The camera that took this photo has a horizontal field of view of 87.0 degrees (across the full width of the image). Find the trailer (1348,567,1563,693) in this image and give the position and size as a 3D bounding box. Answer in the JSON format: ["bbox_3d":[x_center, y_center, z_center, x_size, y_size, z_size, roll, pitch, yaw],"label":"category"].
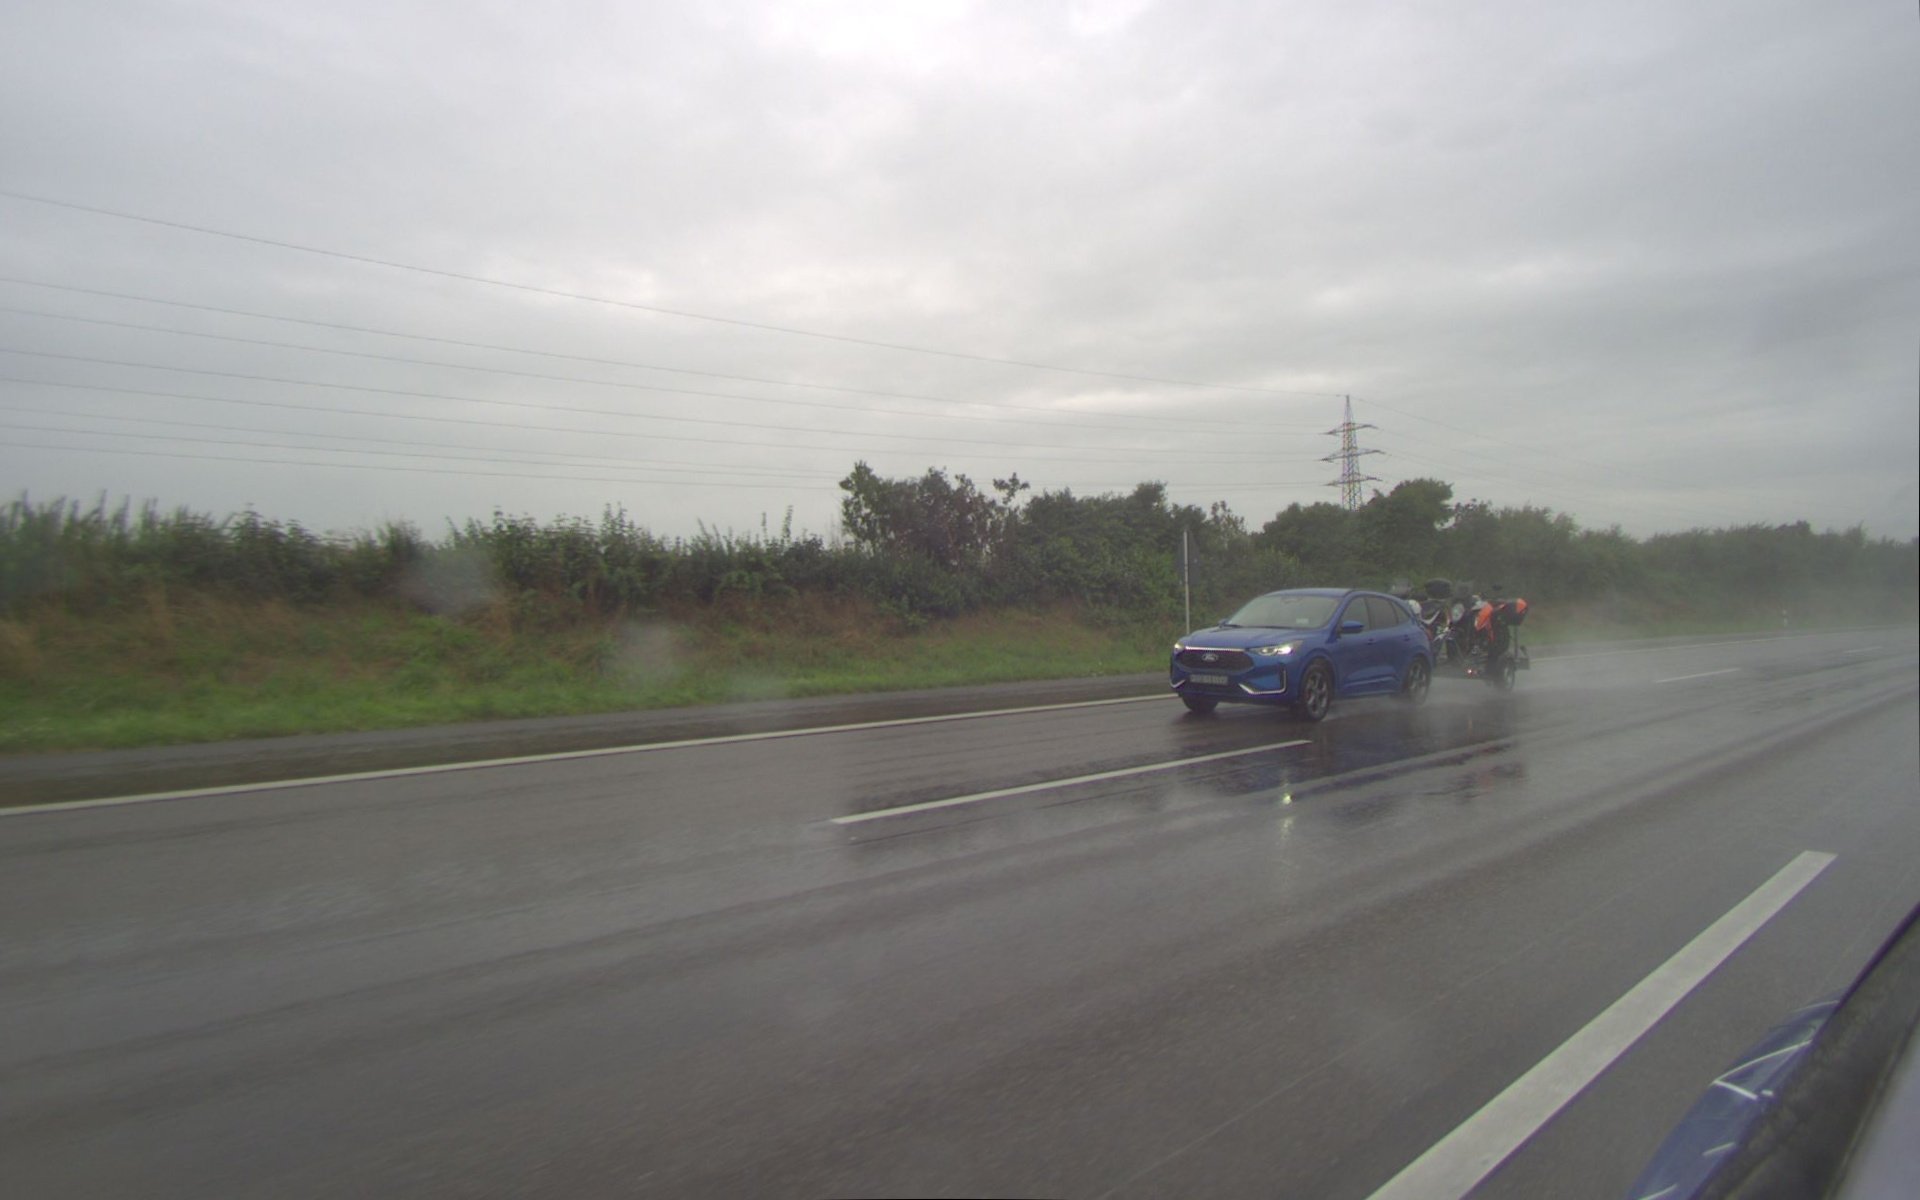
[{"bbox_3d":[7.989,0.415,16.273,3.131,1.807,1.983,0,0,-39],"label":"trailer"}]

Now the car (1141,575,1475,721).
[{"bbox_3d":[4.825,0.518,13.678,4.903,1.639,1.998,-1,0,-39],"label":"car"}]
